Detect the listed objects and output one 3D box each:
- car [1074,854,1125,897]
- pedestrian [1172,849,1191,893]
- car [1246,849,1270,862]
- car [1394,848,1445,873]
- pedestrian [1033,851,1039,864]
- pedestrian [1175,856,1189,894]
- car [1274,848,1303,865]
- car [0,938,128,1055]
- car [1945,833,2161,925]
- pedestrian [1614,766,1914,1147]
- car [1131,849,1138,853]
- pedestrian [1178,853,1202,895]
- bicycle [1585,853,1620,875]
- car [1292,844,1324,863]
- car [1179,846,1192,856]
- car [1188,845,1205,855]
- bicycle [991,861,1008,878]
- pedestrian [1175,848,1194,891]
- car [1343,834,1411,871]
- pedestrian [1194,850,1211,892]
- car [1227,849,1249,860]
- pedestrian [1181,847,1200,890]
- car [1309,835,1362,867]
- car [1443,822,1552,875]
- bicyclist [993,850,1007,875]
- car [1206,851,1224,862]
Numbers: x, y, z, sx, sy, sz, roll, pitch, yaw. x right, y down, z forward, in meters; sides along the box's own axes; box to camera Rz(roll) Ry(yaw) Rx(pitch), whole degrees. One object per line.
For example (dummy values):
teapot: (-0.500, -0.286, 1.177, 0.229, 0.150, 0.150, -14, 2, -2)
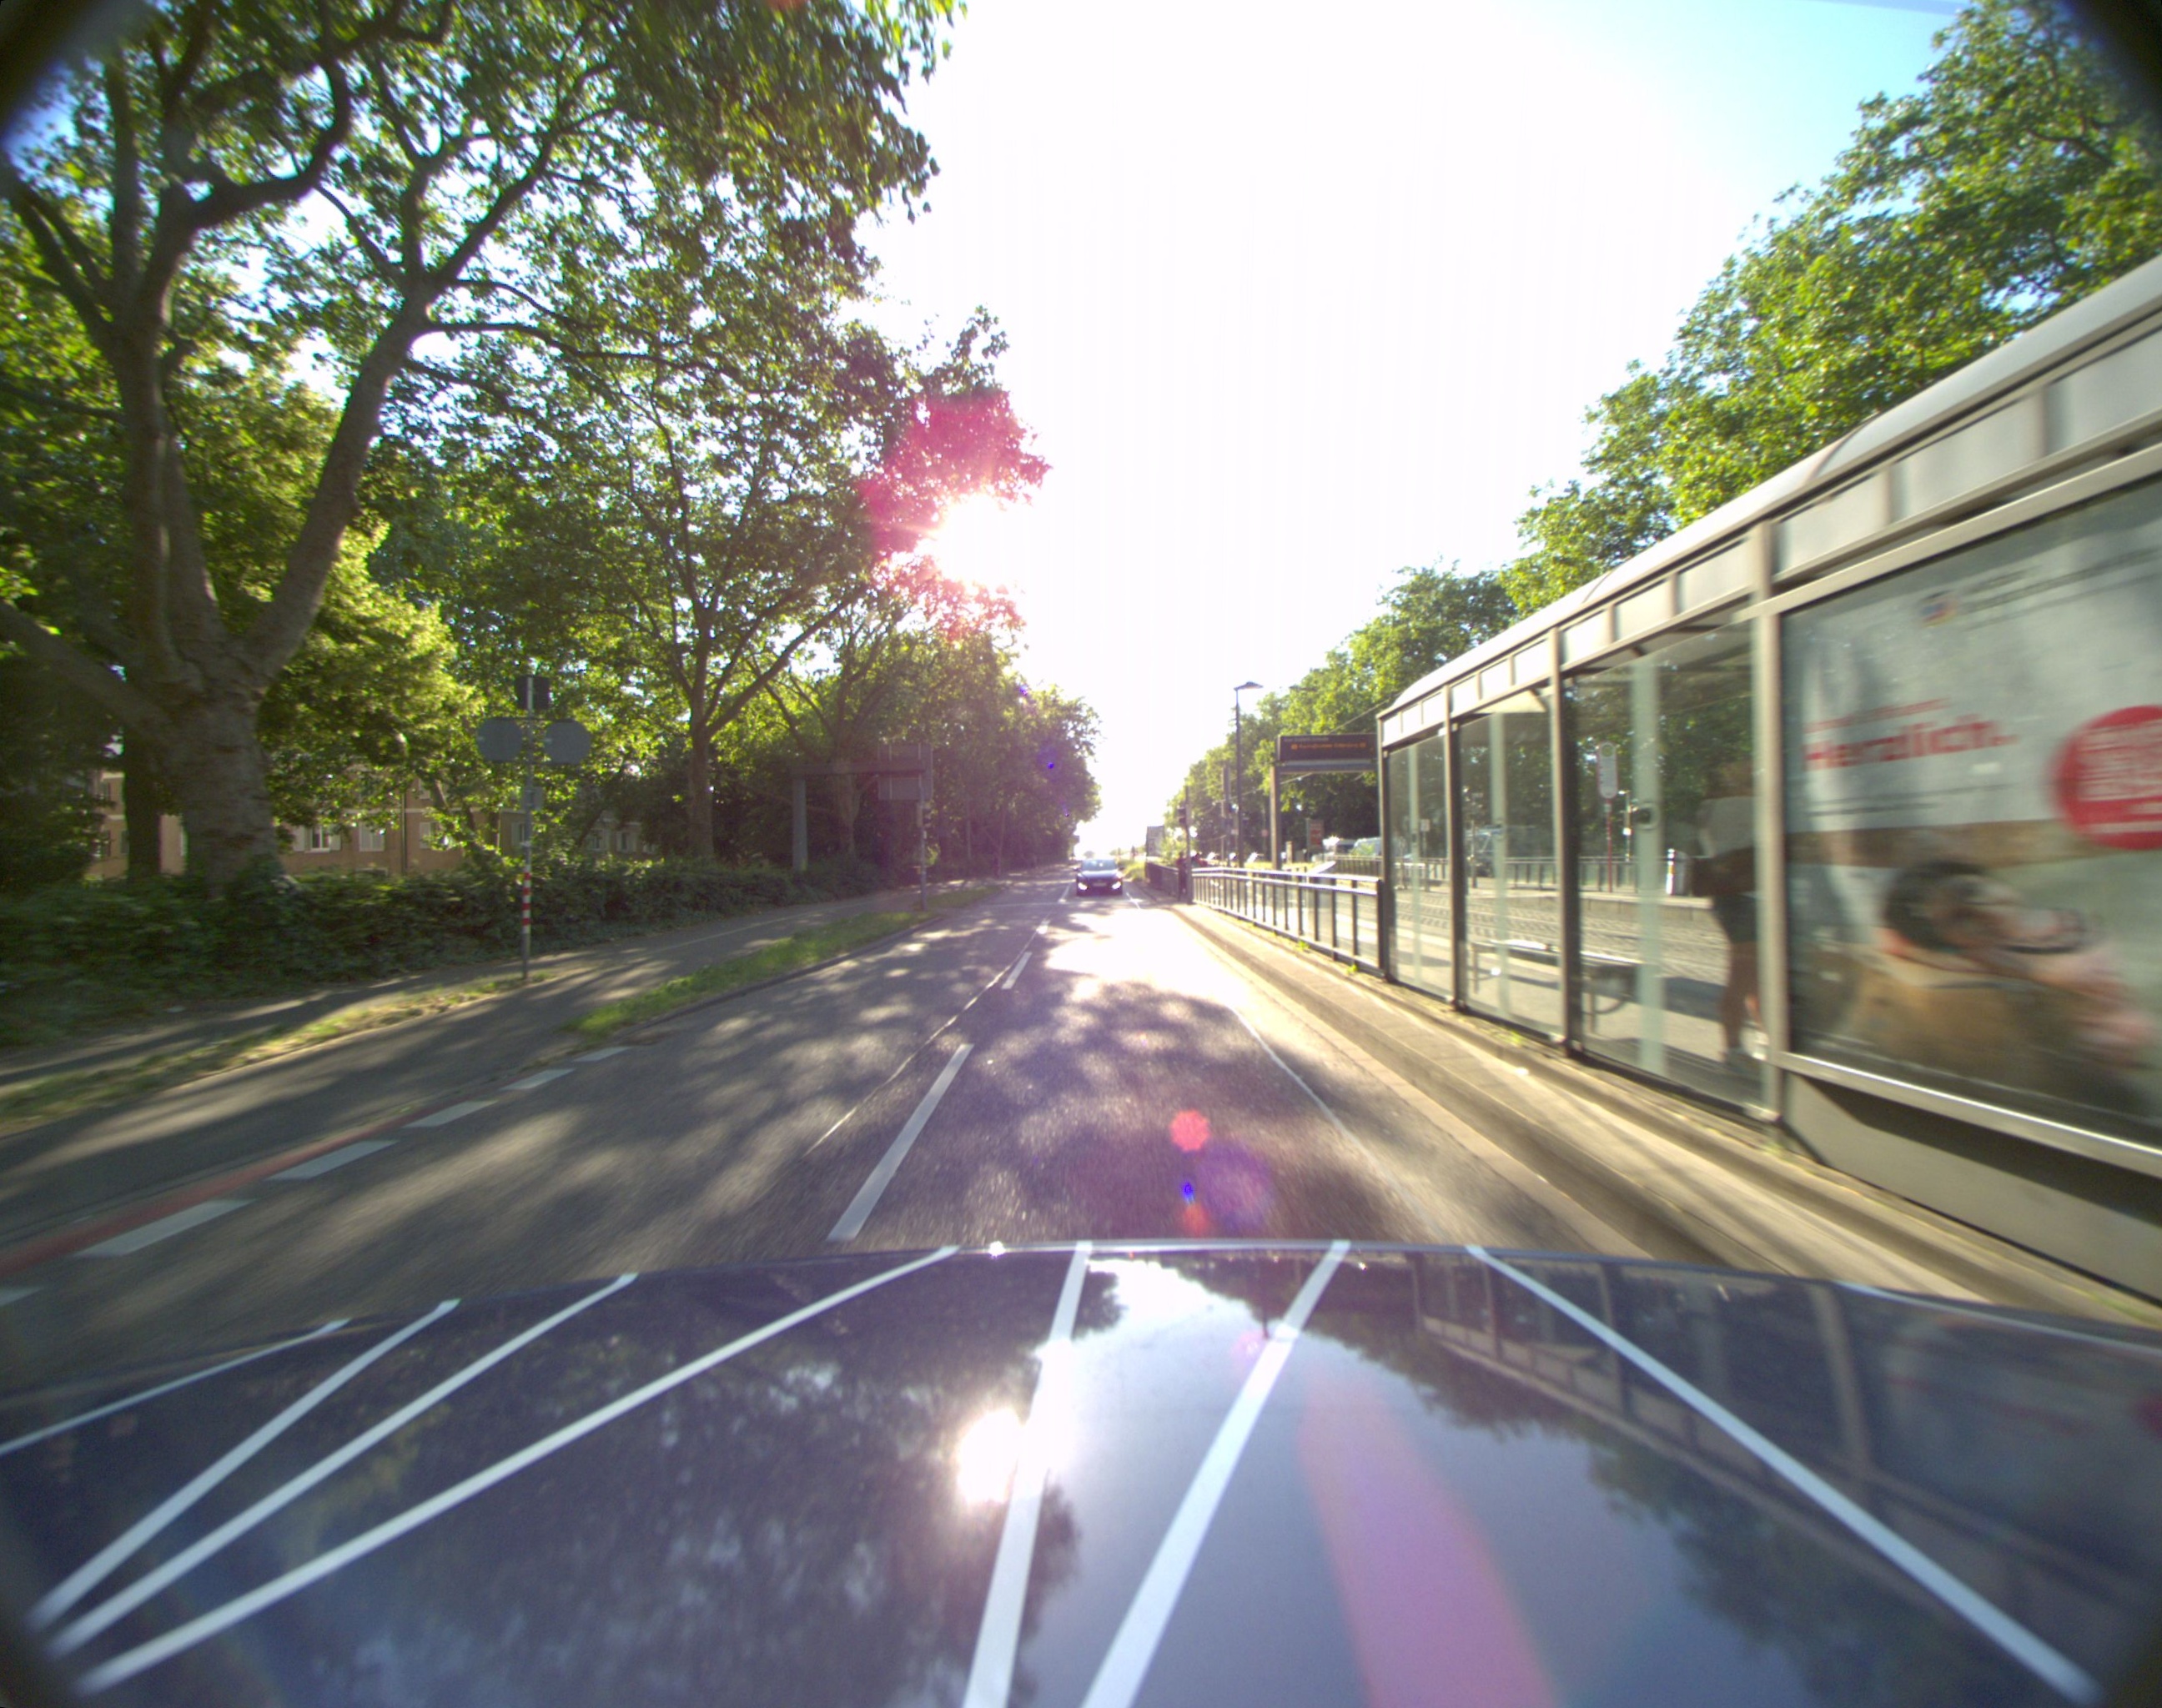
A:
car: (0.712, 0.788, 30.272, 1.799, 1.501, 4.000, -3, 0, 1)
pedestrian: (3.544, 0.597, 26.898, 0.591, 1.511, 0.514, 1, 1, 1)
car: (20.487, 0.118, 88.058, 1.743, 1.428, 3.851, 0, 1, -1)
car: (21.232, 0.408, 47.750, 1.656, 1.504, 3.264, 0, 1, -2)
pedestrian: (-5.545, 0.393, 93.394, 0.649, 1.626, 0.928, 1, 1, 2)
pedestrian: (3.503, 0.716, 26.427, 0.417, 1.313, 0.359, 1, 1, 1)
car: (20.631, 0.238, 75.765, 1.743, 1.546, 3.881, 0, 1, -1)
car: (-22.109, 2.801, 14.493, 4.470, 2.002, 1.992, 0, 0, -29)
car: (20.199, 0.430, 14.894, 1.908, 1.642, 3.971, 0, 1, -2)
pedestrian: (3.355, 0.466, 3.817, 0.744, 1.685, 0.791, -3, 1, 1)
car: (18.394, -1.083, 259.851, 1.925, 1.407, 4.748, 1, 1, 0)
pedestrian: (3.696, 0.680, 25.811, 0.592, 1.398, 0.558, 0, 1, -20)
bicycle: (26.294, 0.490, 38.345, 0.583, 1.024, 1.863, -1, 1, 3)
car: (20.836, -0.089, 69.811, 1.743, 1.718, 3.881, 0, 1, -1)
car: (20.248, -0.553, 146.995, 1.832, 1.830, 4.393, 0, 1, -1)
car: (19.924, -0.738, 131.050, 1.832, 1.709, 4.392, 0, 1, -5)
bicycle: (-5.628, 1.057, 52.706, 0.700, 1.101, 1.931, -1, 0, 9)
pedestrian: (3.756, 0.550, 27.548, 0.520, 1.559, 0.509, 1, 1, 31)
car: (21.039, -0.125, 54.347, 2.189, 2.506, 6.269, 0, 1, -2)
pedestrian: (4.344, 0.607, 27.140, 0.521, 1.464, 0.514, 1, 1, 2)
car: (20.323, 0.059, 98.564, 1.832, 1.428, 4.323, 0, 1, -1)
pedestrian: (4.043, 0.531, 27.949, 0.520, 1.559, 0.509, 1, 1, 31)
car: (20.736, -0.263, 62.258, 2.189, 2.506, 6.048, 0, 1, -1)
car: (21.228, -0.314, 39.142, 2.189, 2.506, 6.031, 0, 1, -1)
bicyclist: (-5.629, 0.600, 52.784, 0.700, 1.718, 1.081, -1, 0, 9)
car: (19.760, 0.373, 112.457, 1.832, 1.497, 4.393, 0, 1, -1)
